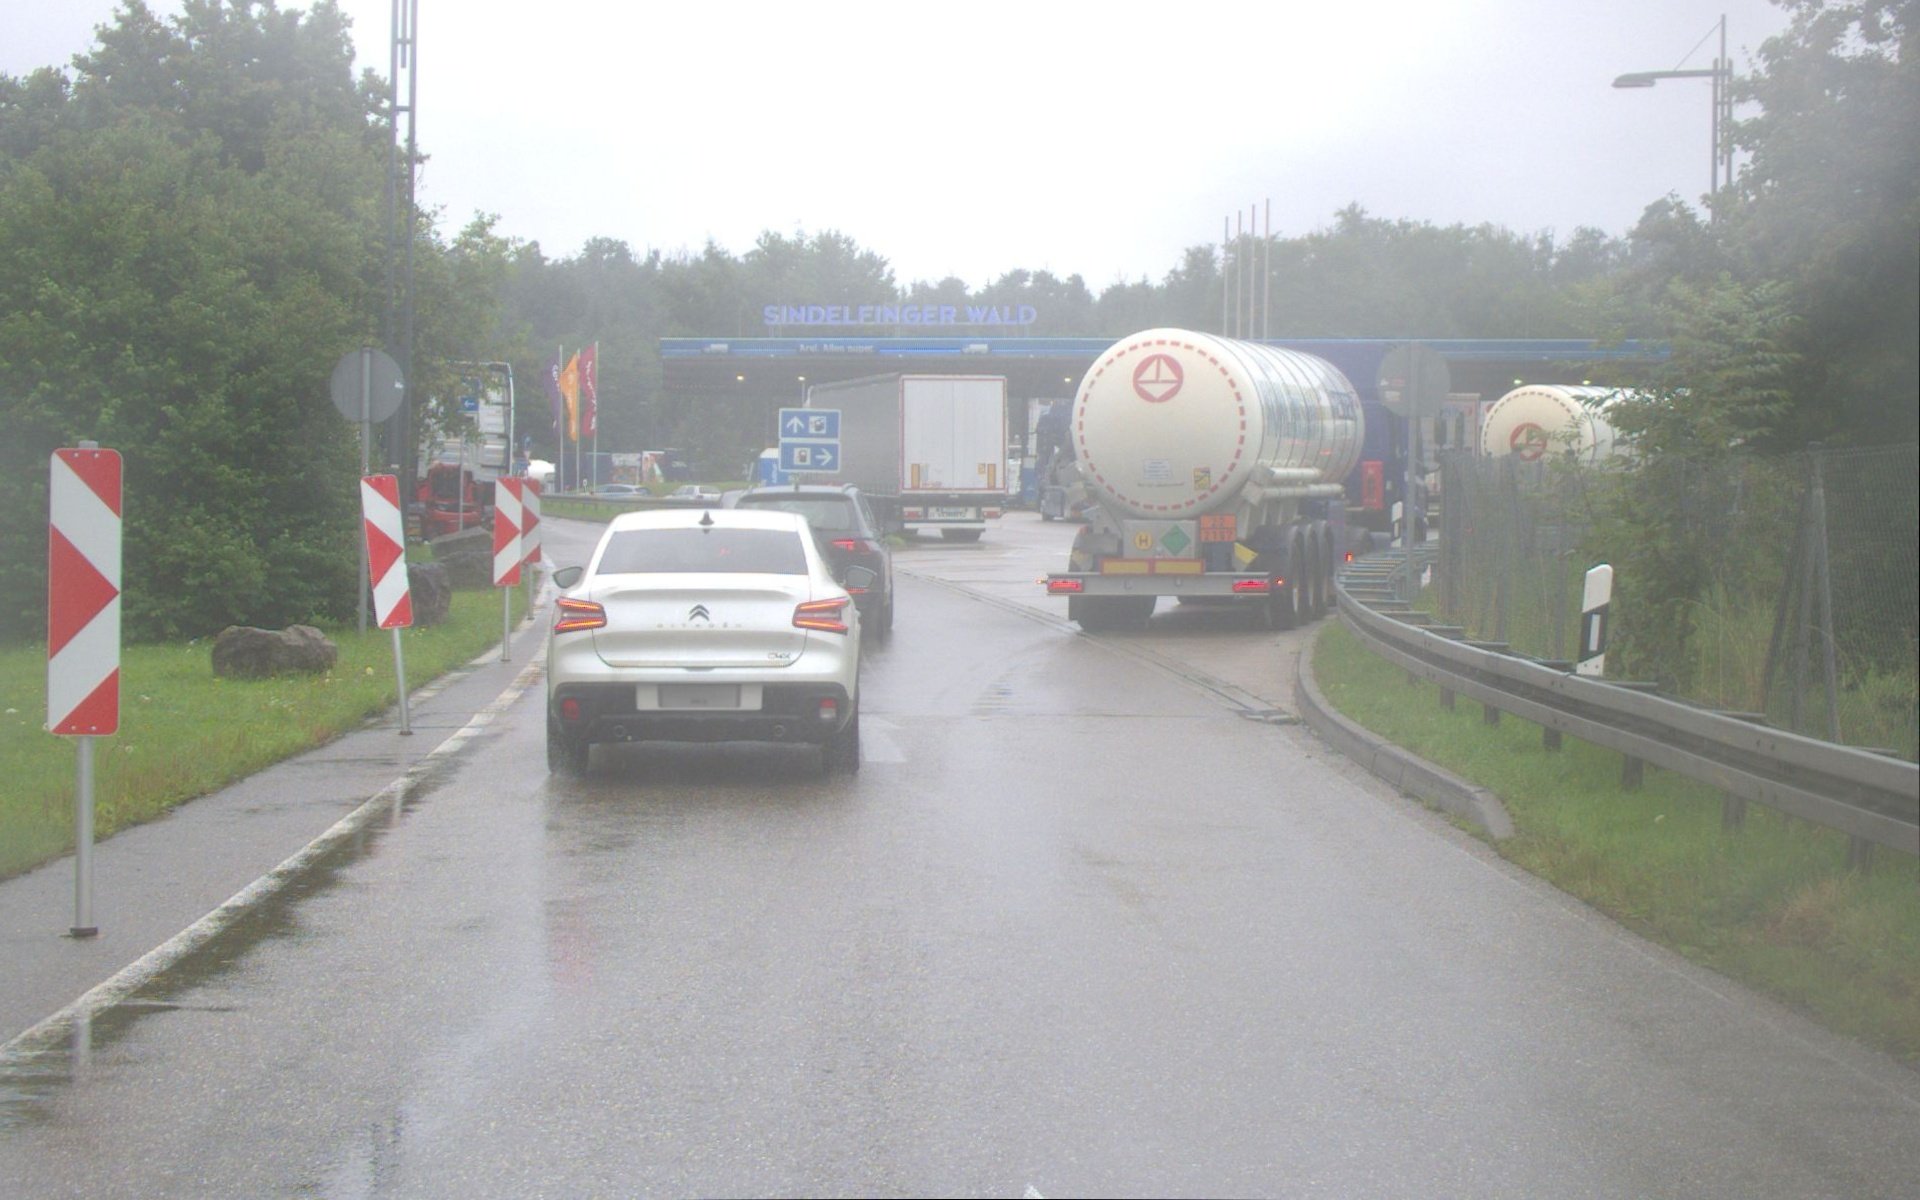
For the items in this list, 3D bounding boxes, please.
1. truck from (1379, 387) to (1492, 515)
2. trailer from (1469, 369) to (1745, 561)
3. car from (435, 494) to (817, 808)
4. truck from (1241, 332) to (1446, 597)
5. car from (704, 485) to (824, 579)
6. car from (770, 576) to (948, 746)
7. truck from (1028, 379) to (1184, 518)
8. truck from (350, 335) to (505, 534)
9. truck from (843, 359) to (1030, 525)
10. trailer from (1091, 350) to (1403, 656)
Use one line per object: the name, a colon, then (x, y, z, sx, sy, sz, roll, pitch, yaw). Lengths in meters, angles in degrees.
truck: (14.285, -4.511, 103.509, 2.425, 3.792, 4.002, 0, 3, -7)
trailer: (12.638, -2.602, 66.317, 2.134, 3.428, 10.237, 1, 3, 29)
car: (-1.867, 0.247, 20.372, 1.993, 1.673, 4.000, 0, 1, -2)
truck: (5.437, -1.895, 48.176, 2.054, 3.519, 4.743, 1, 2, 16)
car: (-3.283, -1.151, 57.008, 1.878, 1.456, 4.001, 1, 2, -4)
car: (-1.045, 0.614, 37.187, 1.742, 1.661, 4.000, 3, 0, 0)
truck: (4.534, -4.816, 109.060, 3.233, 4.174, 8.447, 1, 3, -9)
truck: (-11.044, -3.383, 70.869, 2.914, 3.890, 6.319, 0, 2, -11)
truck: (-0.750, -3.967, 86.466, 2.370, 3.860, 12.460, -1, 3, -11)
trailer: (3.674, -1.213, 41.494, 1.982, 3.213, 10.315, 1, 2, 14)
